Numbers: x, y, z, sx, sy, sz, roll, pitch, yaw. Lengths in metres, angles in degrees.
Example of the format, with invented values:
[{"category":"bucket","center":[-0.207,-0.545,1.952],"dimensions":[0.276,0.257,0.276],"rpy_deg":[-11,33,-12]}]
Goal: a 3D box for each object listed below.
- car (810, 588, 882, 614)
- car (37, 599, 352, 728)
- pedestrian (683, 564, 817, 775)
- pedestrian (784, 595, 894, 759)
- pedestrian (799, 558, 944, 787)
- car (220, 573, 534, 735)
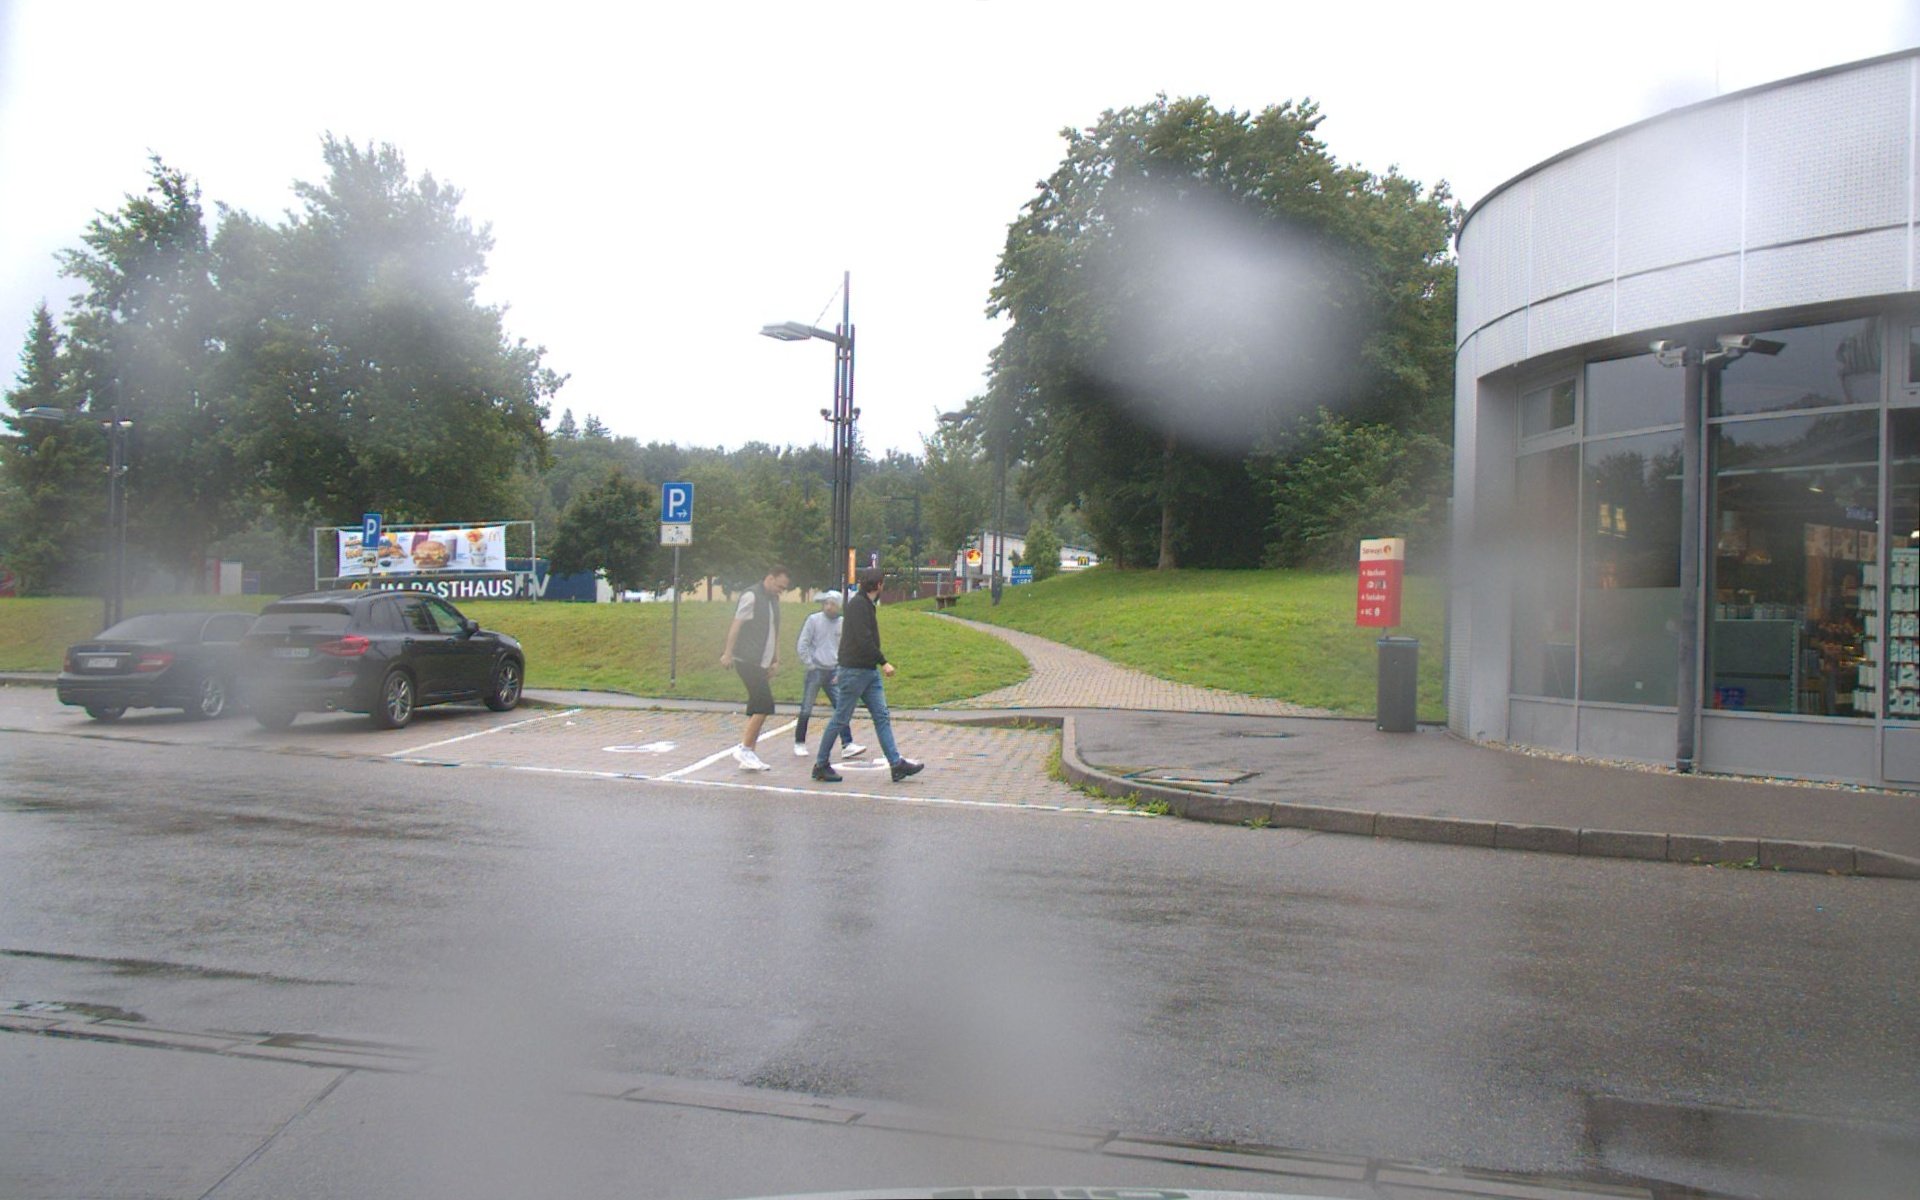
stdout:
[{"category":"car","center":[-9.201,0.066,133.532],"dimensions":[5.310,2.049,2.456],"rpy_deg":[1,0,19]},{"category":"car","center":[-10.358,0.786,22.777],"dimensions":[1.844,1.592,4.189],"rpy_deg":[0,0,11]},{"category":"pedestrian","center":[-1.940,0.614,15.295],"dimensions":[0.954,1.880,0.772],"rpy_deg":[0,0,28]},{"category":"pedestrian","center":[-1.193,0.737,16.379],"dimensions":[0.872,1.577,0.659],"rpy_deg":[0,0,29]},{"category":"pedestrian","center":[-0.762,0.598,14.314],"dimensions":[0.979,1.897,0.798],"rpy_deg":[0,0,28]},{"category":"car","center":[-7.333,0.613,21.338],"dimensions":[1.844,1.860,4.417],"rpy_deg":[0,0,11]}]
